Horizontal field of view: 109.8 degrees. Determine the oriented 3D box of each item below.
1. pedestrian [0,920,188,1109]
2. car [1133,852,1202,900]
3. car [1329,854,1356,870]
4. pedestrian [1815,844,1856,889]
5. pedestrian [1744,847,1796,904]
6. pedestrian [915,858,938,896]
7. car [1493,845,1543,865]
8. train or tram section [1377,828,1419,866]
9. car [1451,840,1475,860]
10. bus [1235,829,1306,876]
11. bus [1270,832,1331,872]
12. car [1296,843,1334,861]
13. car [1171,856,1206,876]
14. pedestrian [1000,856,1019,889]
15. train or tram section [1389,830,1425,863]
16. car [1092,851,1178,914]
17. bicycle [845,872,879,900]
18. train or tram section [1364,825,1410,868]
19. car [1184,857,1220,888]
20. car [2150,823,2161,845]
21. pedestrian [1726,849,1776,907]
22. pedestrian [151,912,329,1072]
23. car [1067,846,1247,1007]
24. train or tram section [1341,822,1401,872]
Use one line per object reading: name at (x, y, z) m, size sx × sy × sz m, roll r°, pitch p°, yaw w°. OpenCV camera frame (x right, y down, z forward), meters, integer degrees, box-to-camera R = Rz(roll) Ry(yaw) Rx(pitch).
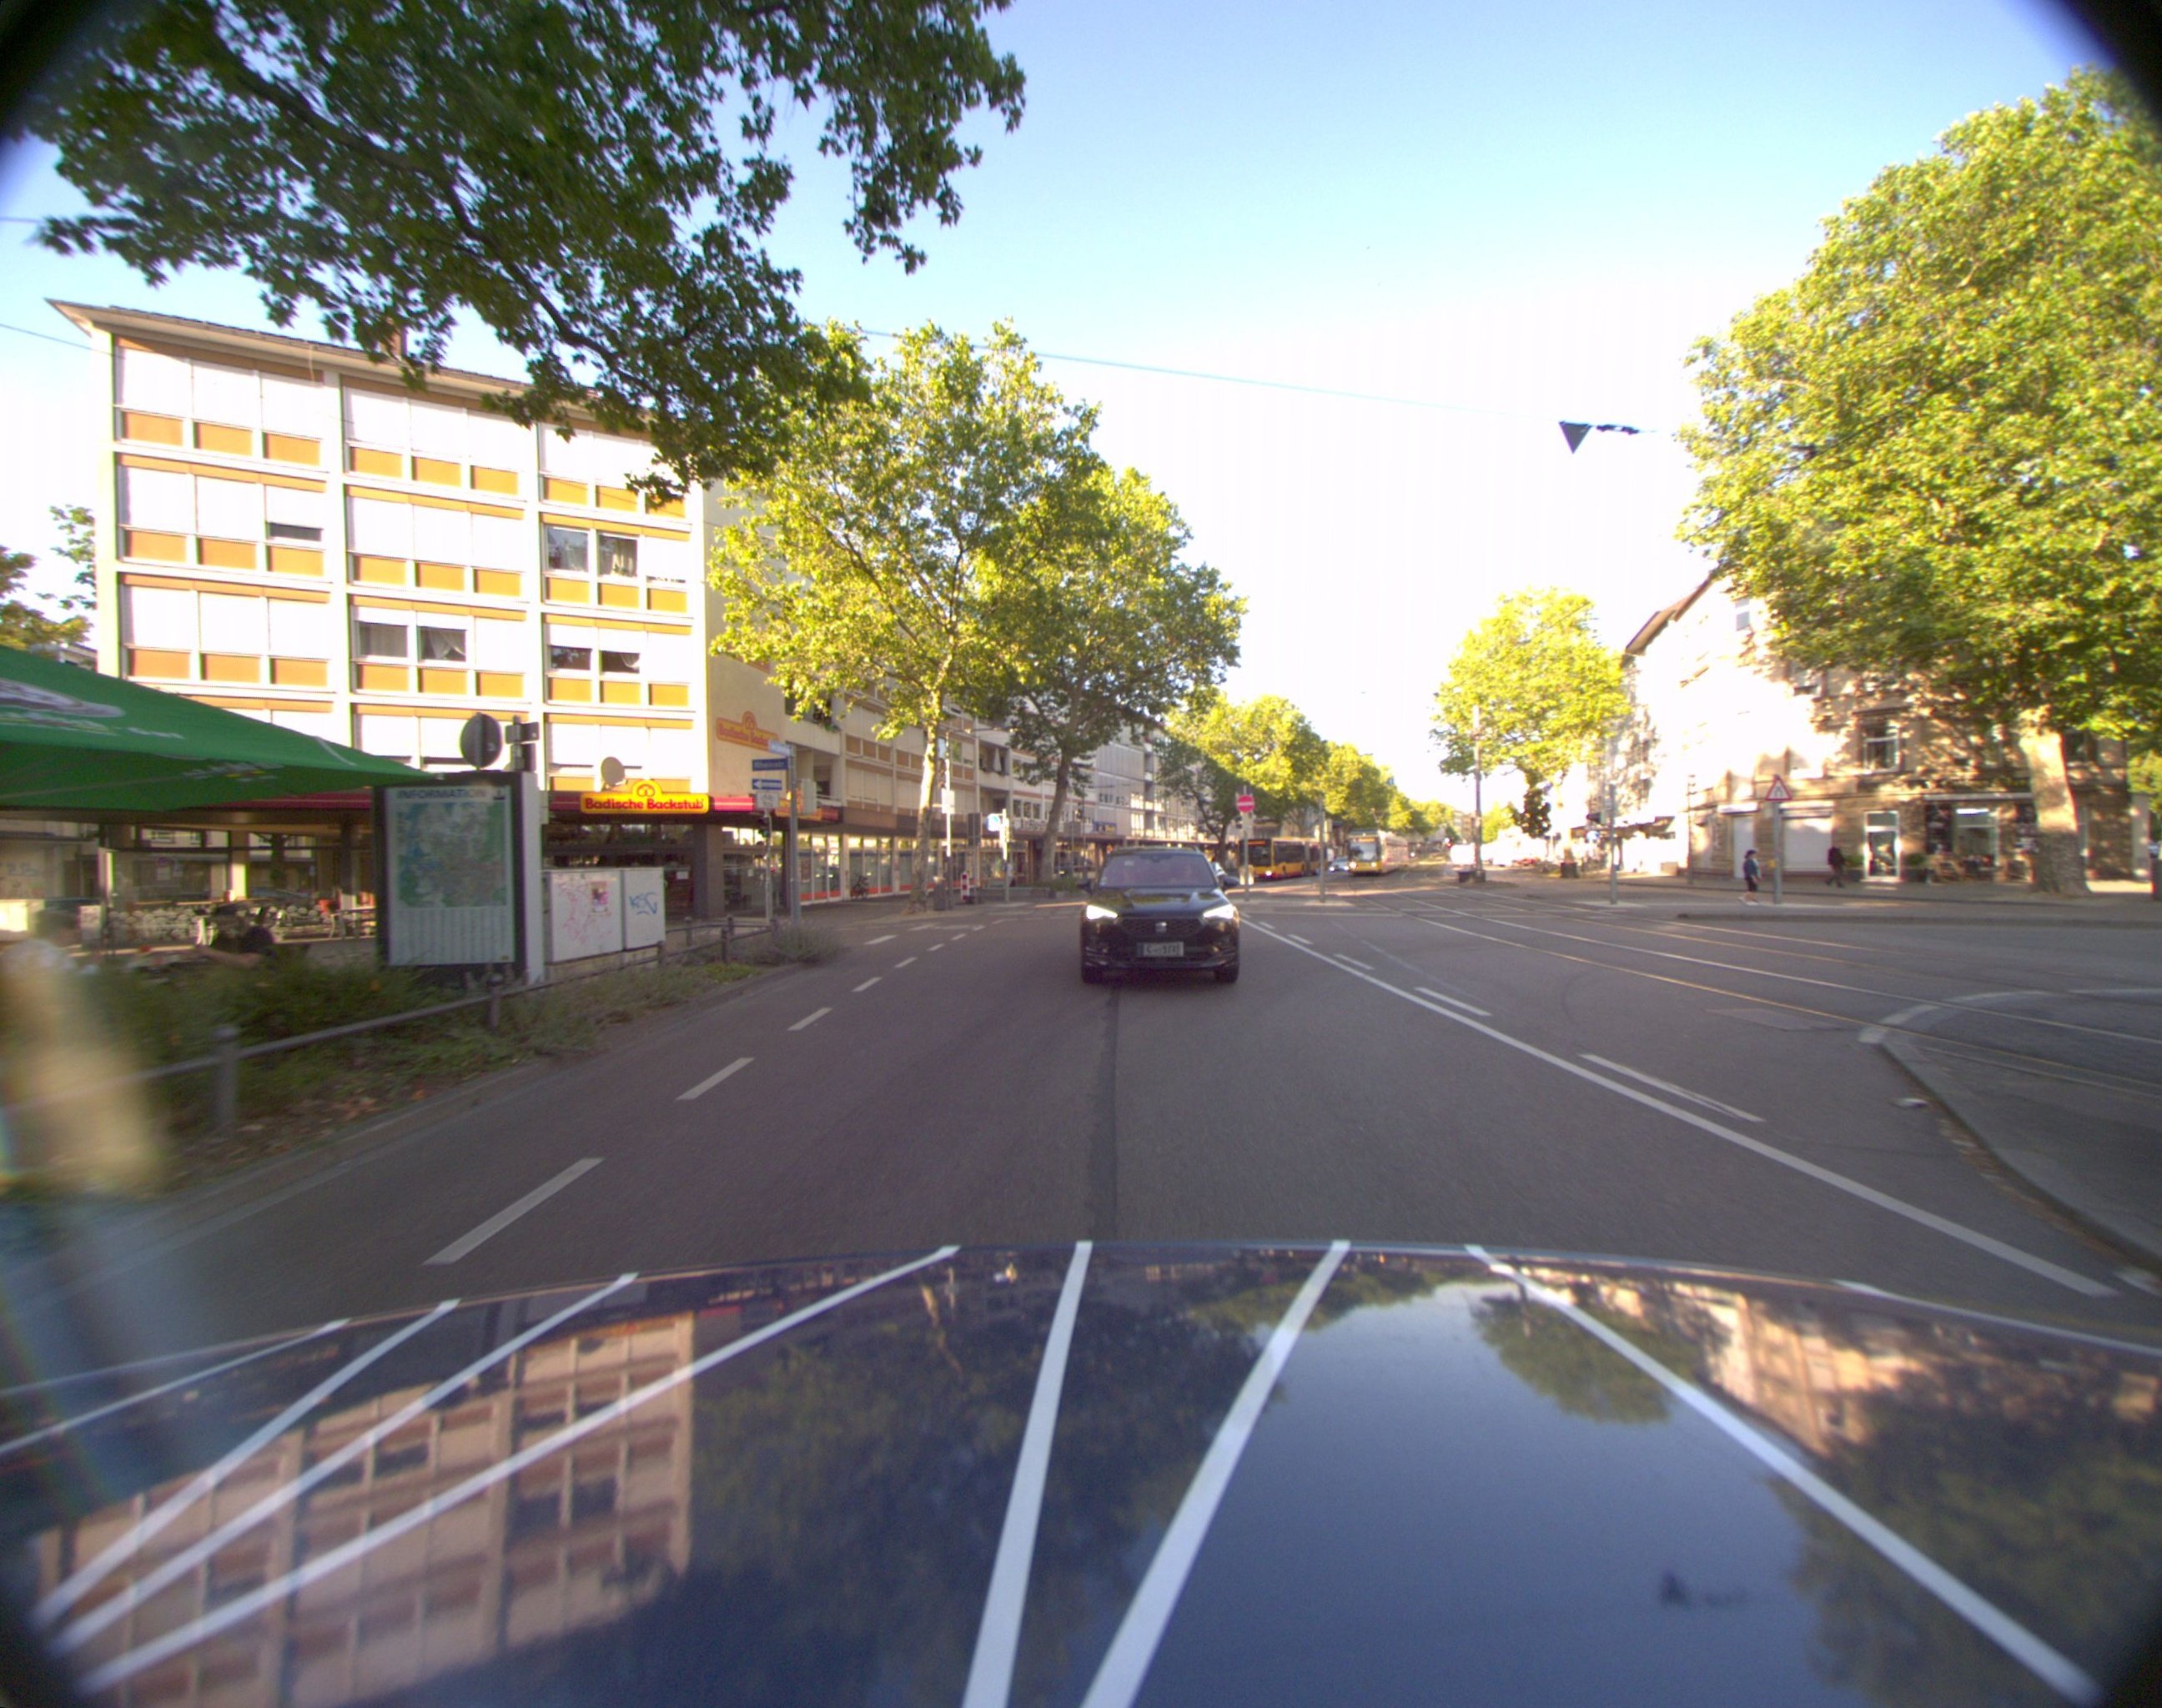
pedestrian at (-7.672, 1.180, 5.840) m, size 0.718 × 1.278 × 0.769 m, roll -1°, pitch 0°, yaw 10°
car at (3.464, 0.807, 29.696) m, size 1.846 × 1.648 × 4.304 m, roll -2°, pitch 0°, yaw 17°
car at (27.168, 0.819, 78.789) m, size 1.908 × 1.467 × 4.426 m, roll -1°, pitch 1°, yaw 29°
pedestrian at (29.830, 0.486, 30.056) m, size 0.797 × 1.745 × 0.802 m, roll -1°, pitch 0°, yaw -4°
pedestrian at (18.892, 0.574, 20.844) m, size 0.798 × 1.500 × 0.800 m, roll -1°, pitch 0°, yaw -27°
pedestrian at (-7.297, 1.070, 35.907) m, size 0.749 × 1.747 × 0.903 m, roll -1°, pitch 0°, yaw 14°
car at (46.741, 0.104, 81.229) m, size 4.652 × 1.965 × 1.901 m, roll -1°, pitch 0°, yaw -15°
train or tram section at (31.938, -0.712, 76.283) m, size 2.873 × 3.467 × 10.357 m, roll -1°, pitch 0°, yaw 28°
car at (40.770, -0.438, 81.256) m, size 2.163 × 2.110 × 4.987 m, roll 0°, pitch 0°, yaw 26°
bus at (13.888, -0.082, 54.911) m, size 2.748 × 3.085 × 9.514 m, roll -1°, pitch 0°, yaw 28°
bus at (18.434, -0.166, 63.255) m, size 2.748 × 3.085 × 9.515 m, roll -1°, pitch 0°, yaw 29°
car at (32.818, -0.239, 106.630) m, size 4.869 × 2.362 × 1.878 m, roll -1°, pitch 1°, yaw -14°
car at (8.201, 0.889, 57.589) m, size 1.649 × 1.463 × 3.715 m, roll -1°, pitch -1°, yaw 24°
pedestrian at (-3.842, 1.011, 41.028) m, size 0.749 × 1.747 × 0.903 m, roll -1°, pitch 0°, yaw 14°
train or tram section at (36.753, -0.834, 85.473) m, size 2.837 × 3.467 × 10.357 m, roll -1°, pitch 0°, yaw 28°
car at (1.739, 0.776, 22.899) m, size 1.846 × 1.648 × 4.656 m, roll -2°, pitch 0°, yaw 13°
bicycle at (-9.346, 1.351, 32.555) m, size 0.528 × 1.136 × 1.976 m, roll -1°, pitch 0°, yaw 11°
train or tram section at (27.138, -0.616, 67.135) m, size 2.837 × 3.467 × 10.357 m, roll -1°, pitch 0°, yaw 27°
car at (6.120, 0.921, 38.166) m, size 1.650 × 1.463 × 3.712 m, roll -1°, pitch -1°, yaw 11°
car at (106.862, -1.964, 74.608) m, size 4.008 × 2.131 × 1.846 m, roll -1°, pitch 0°, yaw -40°
pedestrian at (18.088, 0.635, 20.530) m, size 0.799 × 1.500 × 0.800 m, roll -1°, pitch 0°, yaw -32°
pedestrian at (-7.468, 1.188, 6.780) m, size 0.718 × 1.278 × 0.769 m, roll -1°, pitch 0°, yaw 9°
car at (0.855, 0.783, 10.213) m, size 1.848 × 1.648 × 4.299 m, roll -2°, pitch 0°, yaw 1°
train or tram section at (22.268, -0.517, 57.938) m, size 2.818 × 3.467 × 10.357 m, roll -1°, pitch 0°, yaw 29°
